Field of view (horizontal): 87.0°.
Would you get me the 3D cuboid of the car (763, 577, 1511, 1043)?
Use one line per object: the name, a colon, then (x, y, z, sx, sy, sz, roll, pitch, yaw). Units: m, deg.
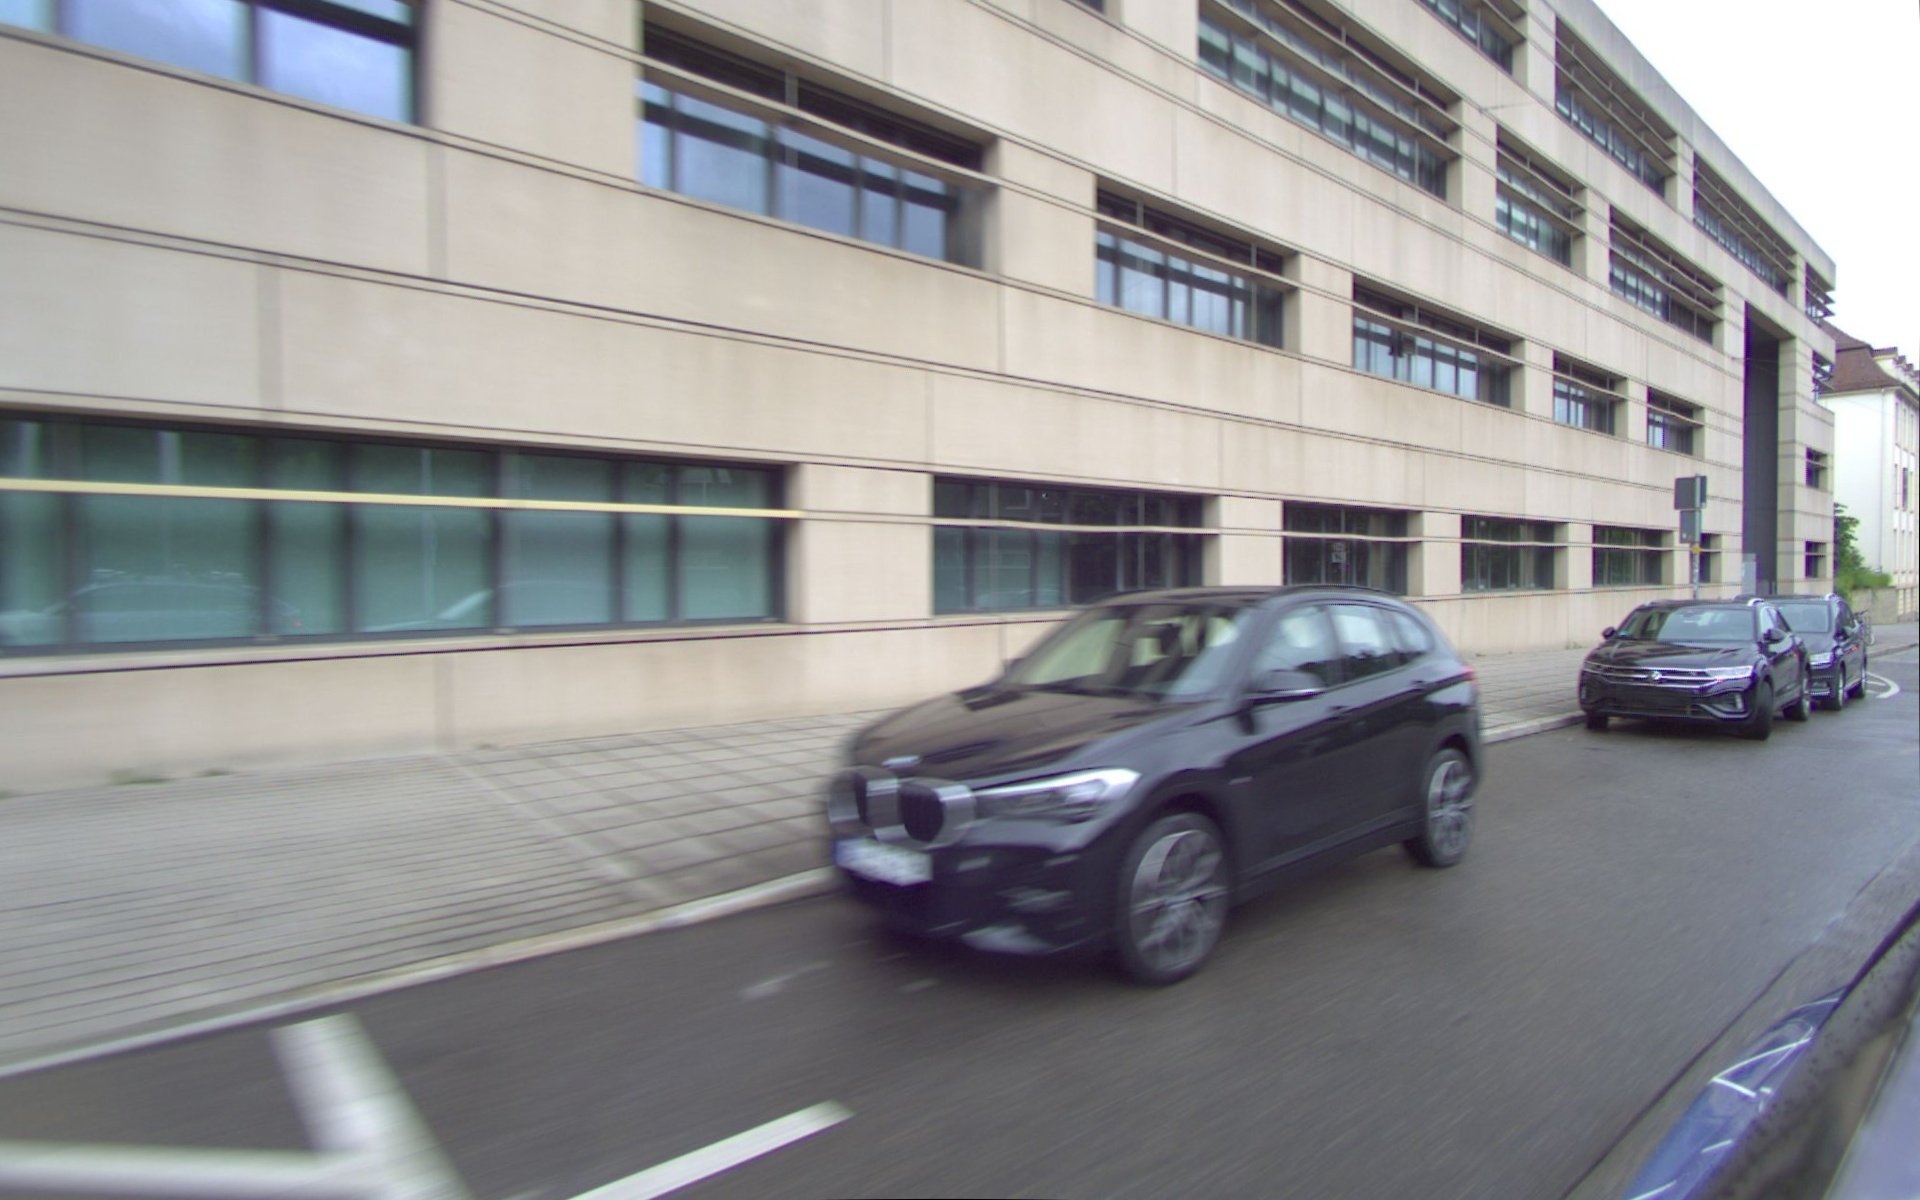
car: (1.241, 0.682, 5.464, 4.246, 1.553, 1.745, -1, 0, -42)

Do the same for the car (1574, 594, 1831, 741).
car: (9.237, 0.711, 12.479, 3.987, 1.531, 1.728, 0, -1, -41)

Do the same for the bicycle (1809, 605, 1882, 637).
bicycle: (29.065, 0.676, 33.246, 0.649, 0.965, 1.760, -1, 1, -43)

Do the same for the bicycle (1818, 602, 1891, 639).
bicycle: (28.565, 0.645, 32.341, 1.730, 1.133, 0.649, 1, 1, 45)

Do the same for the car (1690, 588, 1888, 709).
car: (13.001, 0.637, 15.776, 4.319, 1.624, 1.773, -1, 0, -42)
